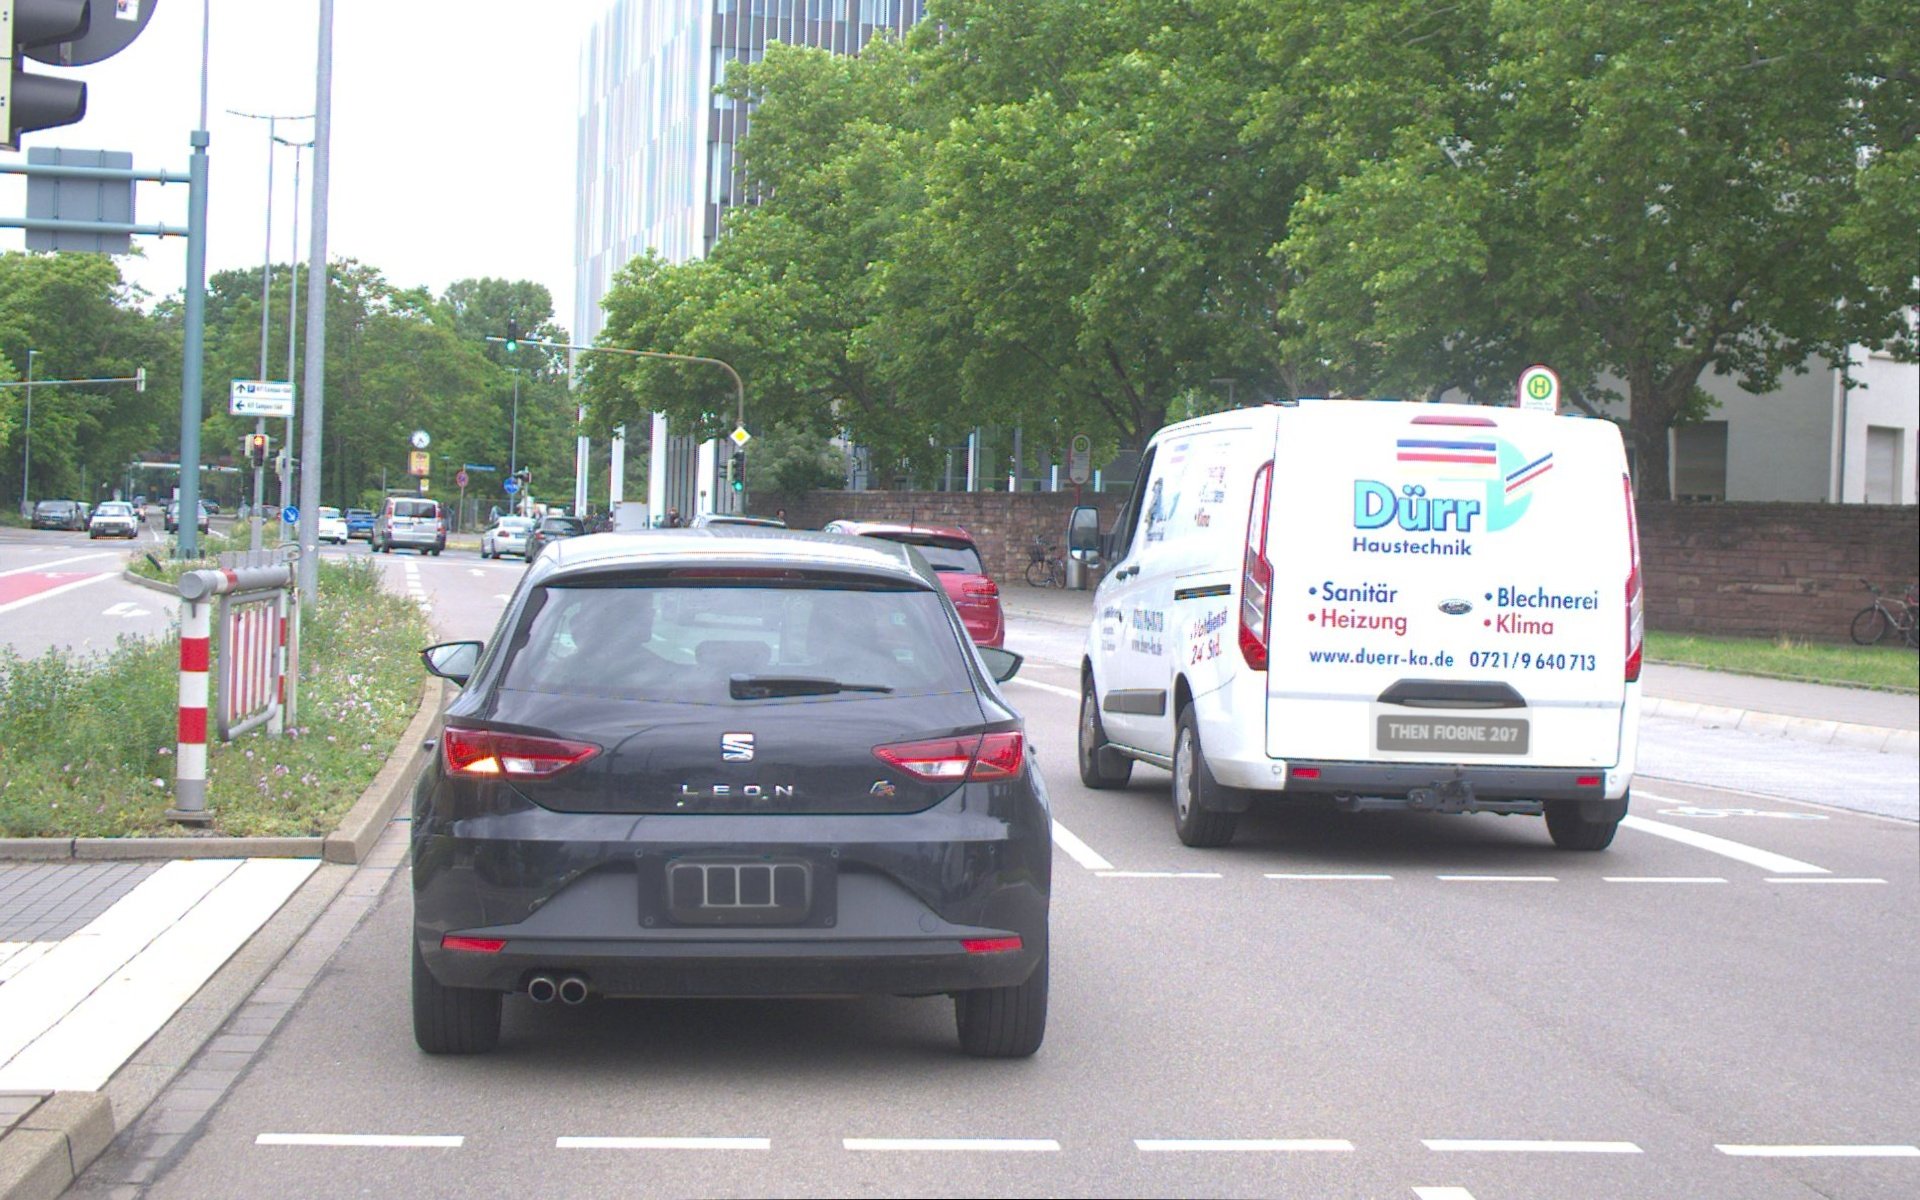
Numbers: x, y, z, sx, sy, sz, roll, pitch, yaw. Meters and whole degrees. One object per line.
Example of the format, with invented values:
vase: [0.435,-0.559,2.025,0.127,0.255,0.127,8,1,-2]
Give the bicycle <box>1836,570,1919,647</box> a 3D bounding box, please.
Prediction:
bicycle: [14.742,0.130,54.395,0.594,1.132,1.713,-1,3,-35]

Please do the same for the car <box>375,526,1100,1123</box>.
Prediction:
car: [-0.732,0.526,10.402,1.752,1.427,3.770,2,1,-6]

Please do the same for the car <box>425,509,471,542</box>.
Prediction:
car: [-20.051,-2.936,134.556,1.504,1.189,3.164,1,2,-13]

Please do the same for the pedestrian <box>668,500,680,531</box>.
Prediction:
pedestrian: [-12.585,-3.710,151.368,0.472,1.357,0.445,1,2,1]

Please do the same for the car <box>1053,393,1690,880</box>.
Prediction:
car: [1.782,0.121,16.470,1.966,1.965,4.345,2,1,-7]

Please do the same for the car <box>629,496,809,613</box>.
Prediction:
car: [-3.779,-0.730,53.238,1.914,1.658,4.116,0,2,-16]

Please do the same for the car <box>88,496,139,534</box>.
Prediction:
car: [-32.945,-3.331,133.859,1.607,1.376,3.810,1,2,-9]

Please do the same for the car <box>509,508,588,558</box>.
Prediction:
car: [-12.236,-1.994,102.077,1.898,1.349,3.884,1,2,-13]

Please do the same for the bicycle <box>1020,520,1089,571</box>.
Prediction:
bicycle: [2.195,-1.274,80.174,0.848,1.123,1.924,0,2,-24]

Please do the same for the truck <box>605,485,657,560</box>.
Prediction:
truck: [-10.250,-2.427,106.916,1.317,2.235,3.403,1,2,-10]

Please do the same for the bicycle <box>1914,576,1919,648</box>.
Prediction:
bicycle: [15.569,0.218,52.857,0.594,1.125,1.713,-1,3,-35]

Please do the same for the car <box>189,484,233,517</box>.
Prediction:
car: [-34.175,-4.517,156.735,1.763,1.455,4.793,0,1,-15]

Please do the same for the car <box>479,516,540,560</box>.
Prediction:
car: [-15.007,-2.082,114.421,1.615,1.349,4.002,1,2,-13]

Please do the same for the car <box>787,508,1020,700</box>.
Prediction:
car: [-0.622,-0.012,34.052,1.949,1.618,3.750,4,2,-5]

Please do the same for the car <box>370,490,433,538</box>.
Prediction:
car: [-18.666,-2.887,114.812,1.695,1.498,4.011,0,2,-15]
